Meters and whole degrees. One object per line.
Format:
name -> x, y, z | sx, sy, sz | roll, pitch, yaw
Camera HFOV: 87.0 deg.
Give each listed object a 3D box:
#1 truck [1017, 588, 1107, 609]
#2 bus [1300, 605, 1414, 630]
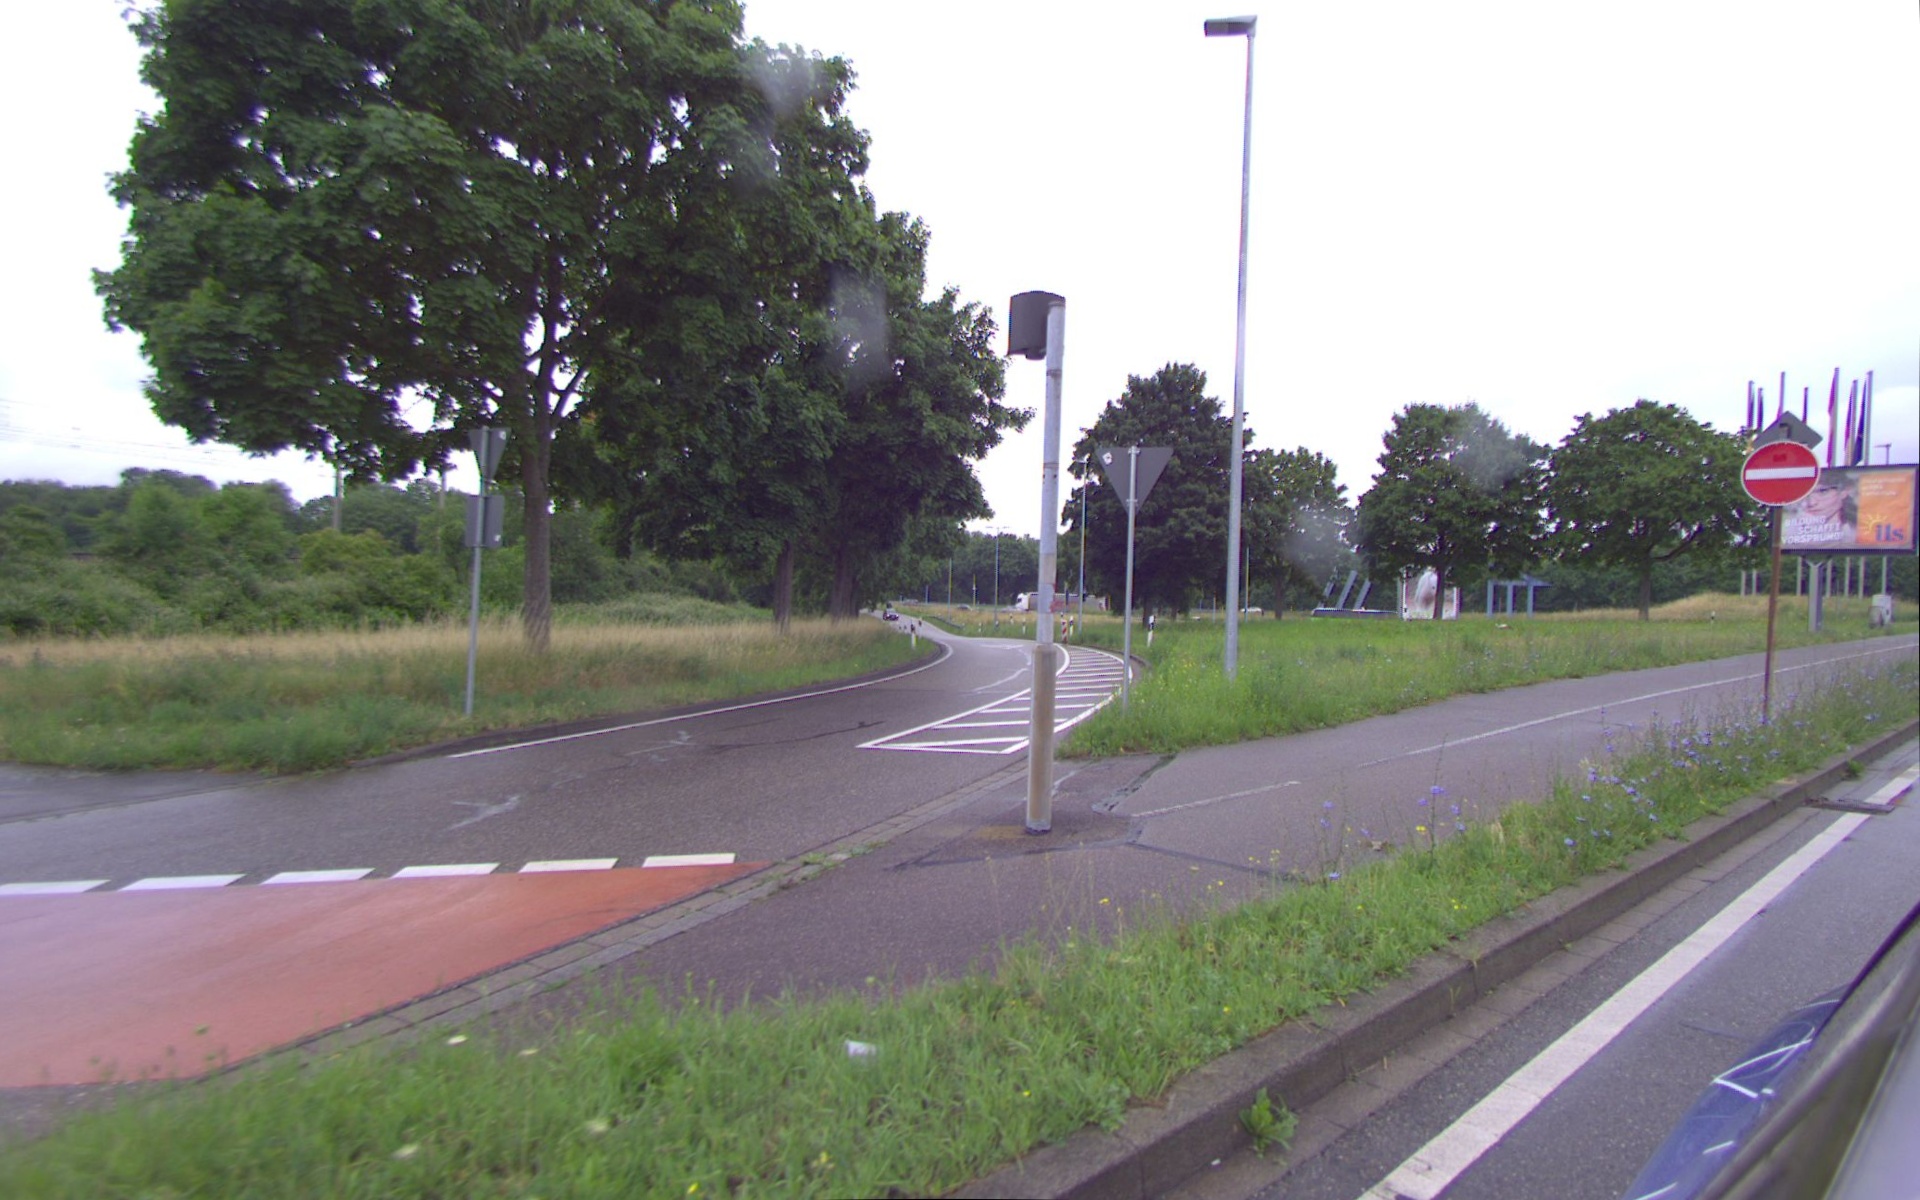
truck -> 17.490, -0.255, 174.457 | 16.155, 3.433, 2.715 | 1, 0, 35
bus -> 50.092, 2.154, 127.619 | 14.286, 2.713, 2.769 | -1, 1, -14
